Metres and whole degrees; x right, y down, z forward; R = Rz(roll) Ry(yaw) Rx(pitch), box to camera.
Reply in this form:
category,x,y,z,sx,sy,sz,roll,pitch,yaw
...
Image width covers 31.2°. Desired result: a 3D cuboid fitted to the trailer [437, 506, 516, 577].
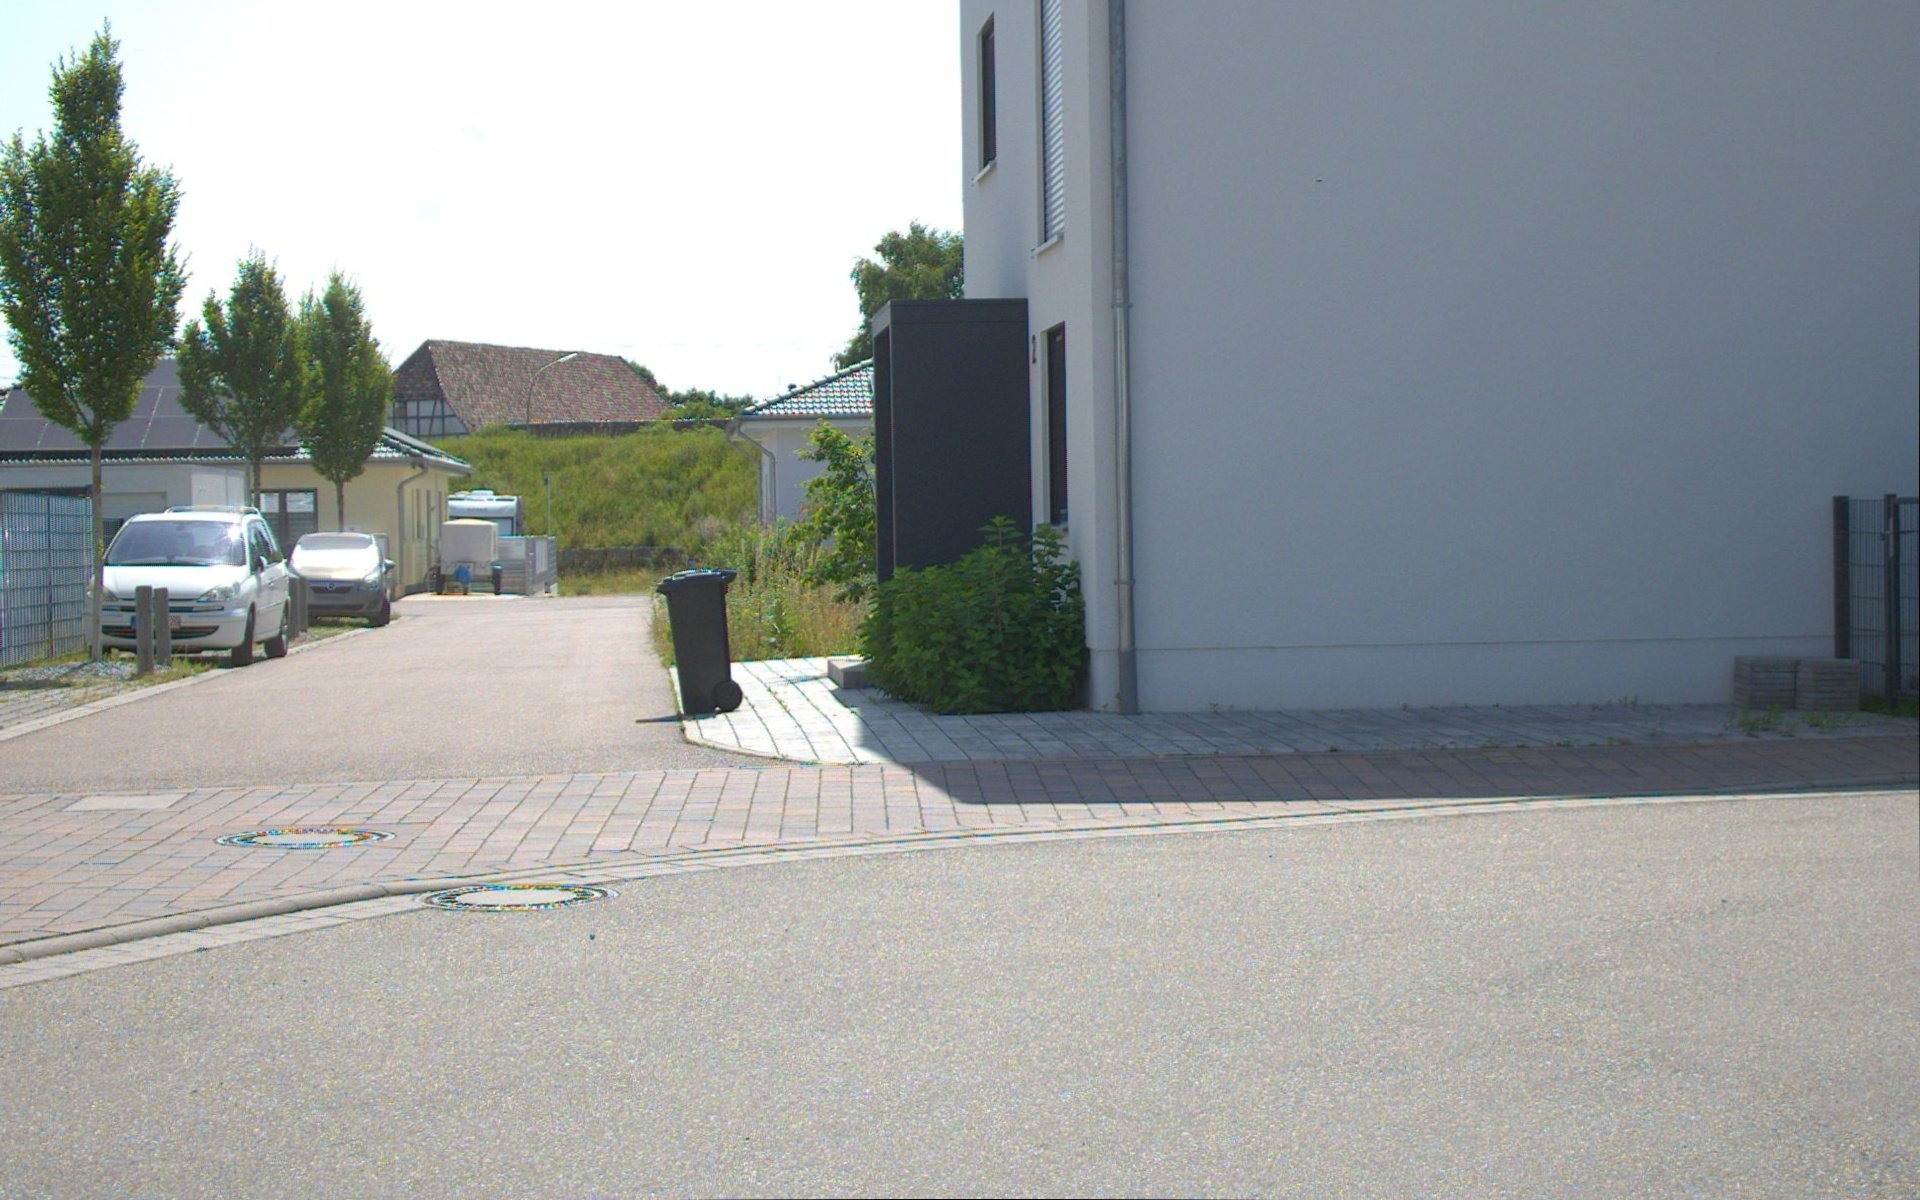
category,x,y,z,sx,sy,sz,roll,pitch,yaw
trailer,-11.305,-1.367,80.445,1.626,1.608,2.562,1,1,-4

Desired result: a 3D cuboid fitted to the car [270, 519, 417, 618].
category,x,y,z,sx,sy,sz,roll,pitch,yaw
car,-10.562,-0.544,59.150,1.993,1.608,4.485,1,1,-4

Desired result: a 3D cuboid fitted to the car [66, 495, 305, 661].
category,x,y,z,sx,sy,sz,roll,pitch,yaw
car,-8.867,-0.271,39.732,1.993,1.783,4.648,1,1,-4

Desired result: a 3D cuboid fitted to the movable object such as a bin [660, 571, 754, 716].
category,x,y,z,sx,sy,sz,roll,pitch,yaw
movable object such as a bin,-1.721,0.293,23.399,0.599,0.945,0.501,-2,1,-4

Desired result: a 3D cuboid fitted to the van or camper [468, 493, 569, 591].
category,x,y,z,sx,sy,sz,roll,pitch,yaw
van or camper,-11.241,-1.480,87.841,2.263,2.402,4.845,1,1,-4
